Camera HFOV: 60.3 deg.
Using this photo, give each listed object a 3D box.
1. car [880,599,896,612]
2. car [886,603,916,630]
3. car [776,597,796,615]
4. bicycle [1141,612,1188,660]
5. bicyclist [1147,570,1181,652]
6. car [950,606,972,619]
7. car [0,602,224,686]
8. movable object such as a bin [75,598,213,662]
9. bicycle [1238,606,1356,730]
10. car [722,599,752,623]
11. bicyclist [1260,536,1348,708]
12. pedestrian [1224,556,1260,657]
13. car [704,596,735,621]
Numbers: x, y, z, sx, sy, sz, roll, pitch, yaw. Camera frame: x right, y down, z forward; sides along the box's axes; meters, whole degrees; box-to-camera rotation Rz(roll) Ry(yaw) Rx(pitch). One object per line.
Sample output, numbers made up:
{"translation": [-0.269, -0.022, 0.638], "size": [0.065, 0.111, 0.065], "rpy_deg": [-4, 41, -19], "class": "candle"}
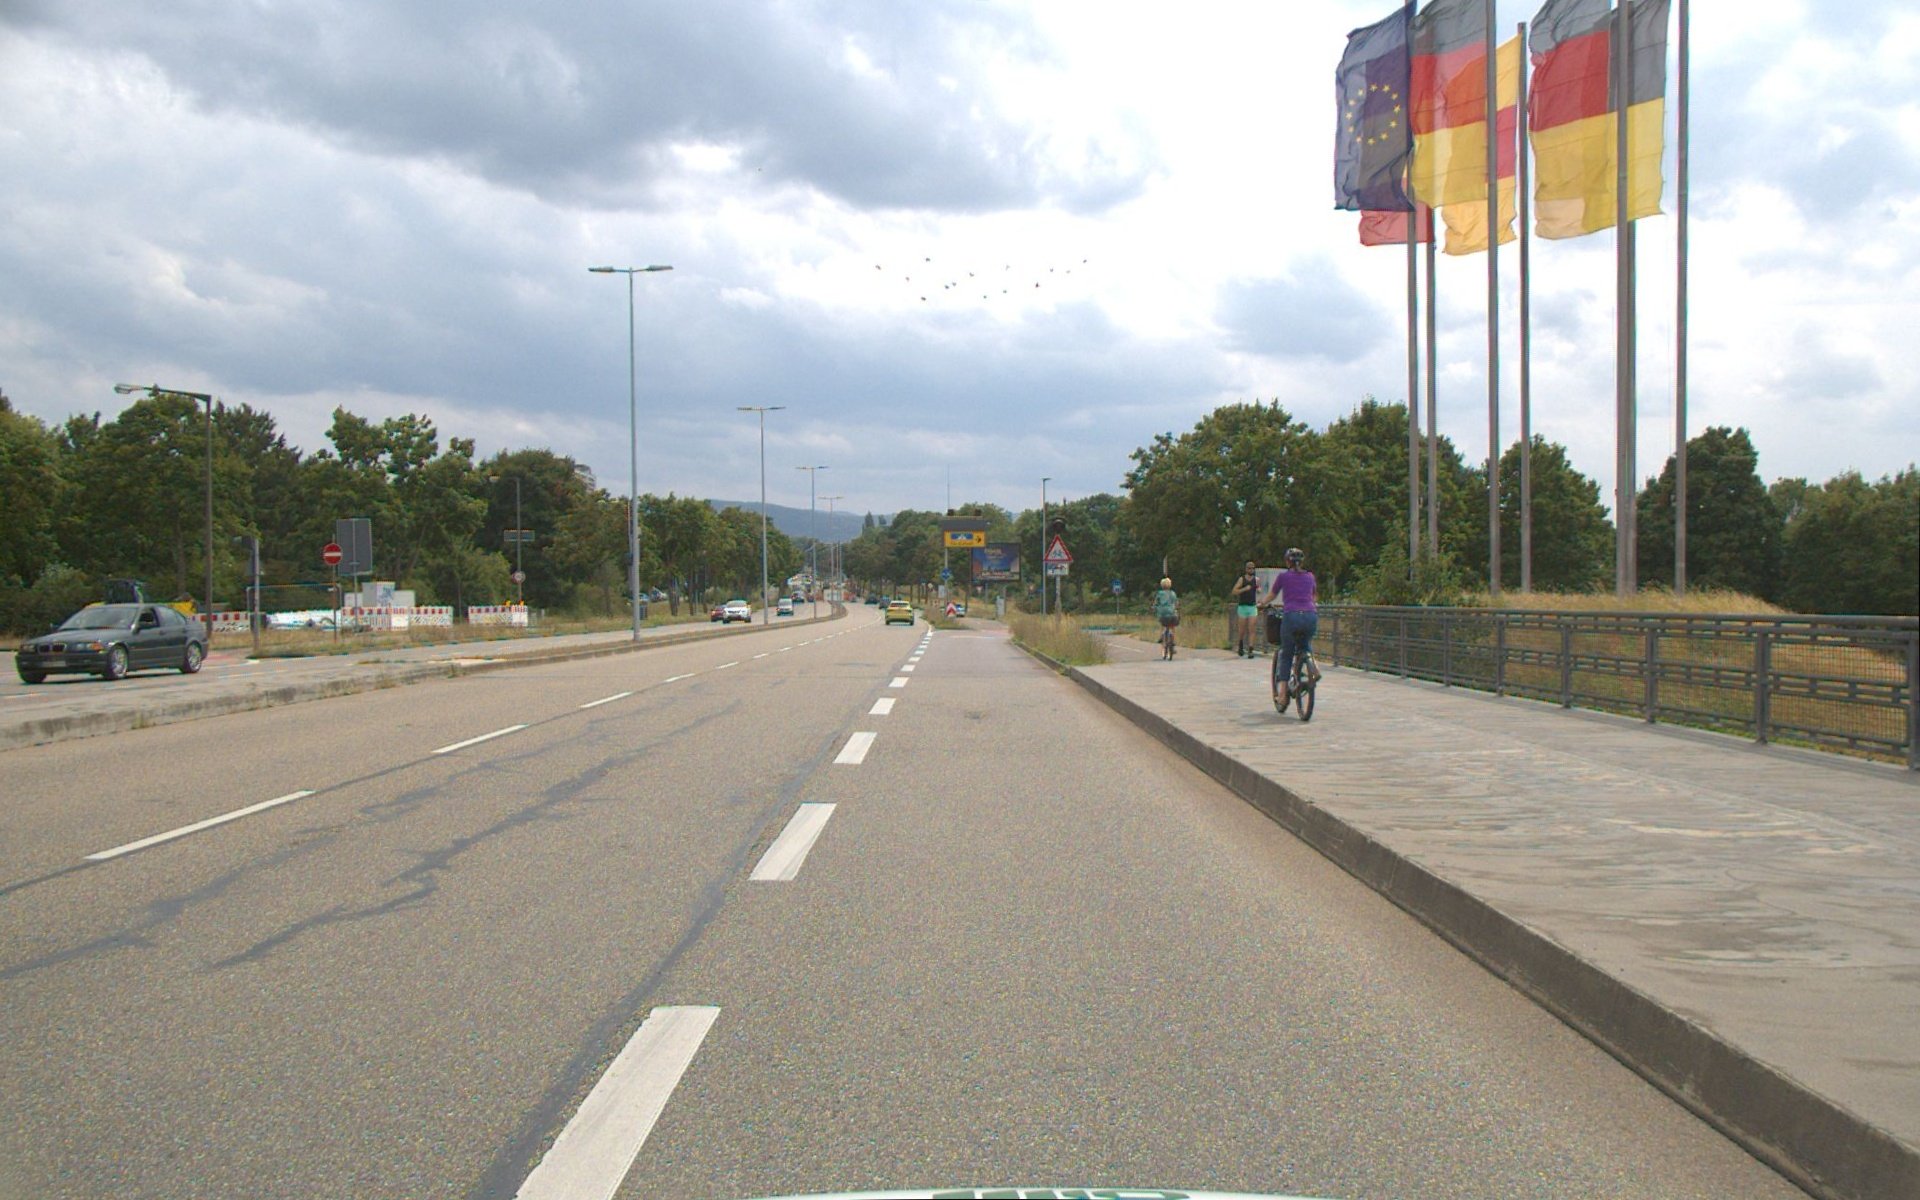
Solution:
{"translation": [-9.837, 0.784, 225.403], "size": [2.162, 1.713, 3.998], "rpy_deg": [0, 1, -3], "class": "car"}
{"translation": [-3.682, 1.003, 102.752], "size": [1.758, 1.589, 3.998], "rpy_deg": [0, 1, -3], "class": "car"}
{"translation": [-18.924, 0.605, 180.138], "size": [1.864, 1.841, 4.538], "rpy_deg": [0, 1, -2], "class": "car"}
{"translation": [4.208, 0.719, 34.135], "size": [0.611, 0.904, 2.153], "rpy_deg": [0, 1, -3], "class": "bicycle"}
{"translation": [4.216, 0.221, 34.210], "size": [0.609, 1.695, 0.669], "rpy_deg": [0, 1, -3], "class": "bicyclist"}
{"translation": [0.102, 1.314, 171.629], "size": [1.974, 1.292, 3.998], "rpy_deg": [0, 1, -4], "class": "car"}
{"translation": [-15.881, 0.775, 30.959], "size": [1.952, 1.397, 4.578], "rpy_deg": [-2, 0, 3], "class": "car"}
{"translation": [-32.275, 1.148, 65.535], "size": [4.497, 2.439, 1.994], "rpy_deg": [0, 1, -12], "class": "movable object such as a bin"}
{"translation": [3.628, 0.693, 18.011], "size": [0.680, 1.213, 2.460], "rpy_deg": [-1, 0, -2], "class": "bicycle"}
{"translation": [-16.125, 0.798, 119.876], "size": [1.660, 1.657, 4.383], "rpy_deg": [0, 1, -1], "class": "car"}
{"translation": [3.667, 0.221, 17.698], "size": [0.689, 1.786, 0.991], "rpy_deg": [0, 0, -3], "class": "bicyclist"}
{"translation": [5.792, 0.131, 33.961], "size": [0.614, 2.049, 0.668], "rpy_deg": [0, 1, -1], "class": "pedestrian"}
{"translation": [-20.241, 0.709, 139.215], "size": [1.953, 1.914, 3.999], "rpy_deg": [4, -1, -1], "class": "car"}
